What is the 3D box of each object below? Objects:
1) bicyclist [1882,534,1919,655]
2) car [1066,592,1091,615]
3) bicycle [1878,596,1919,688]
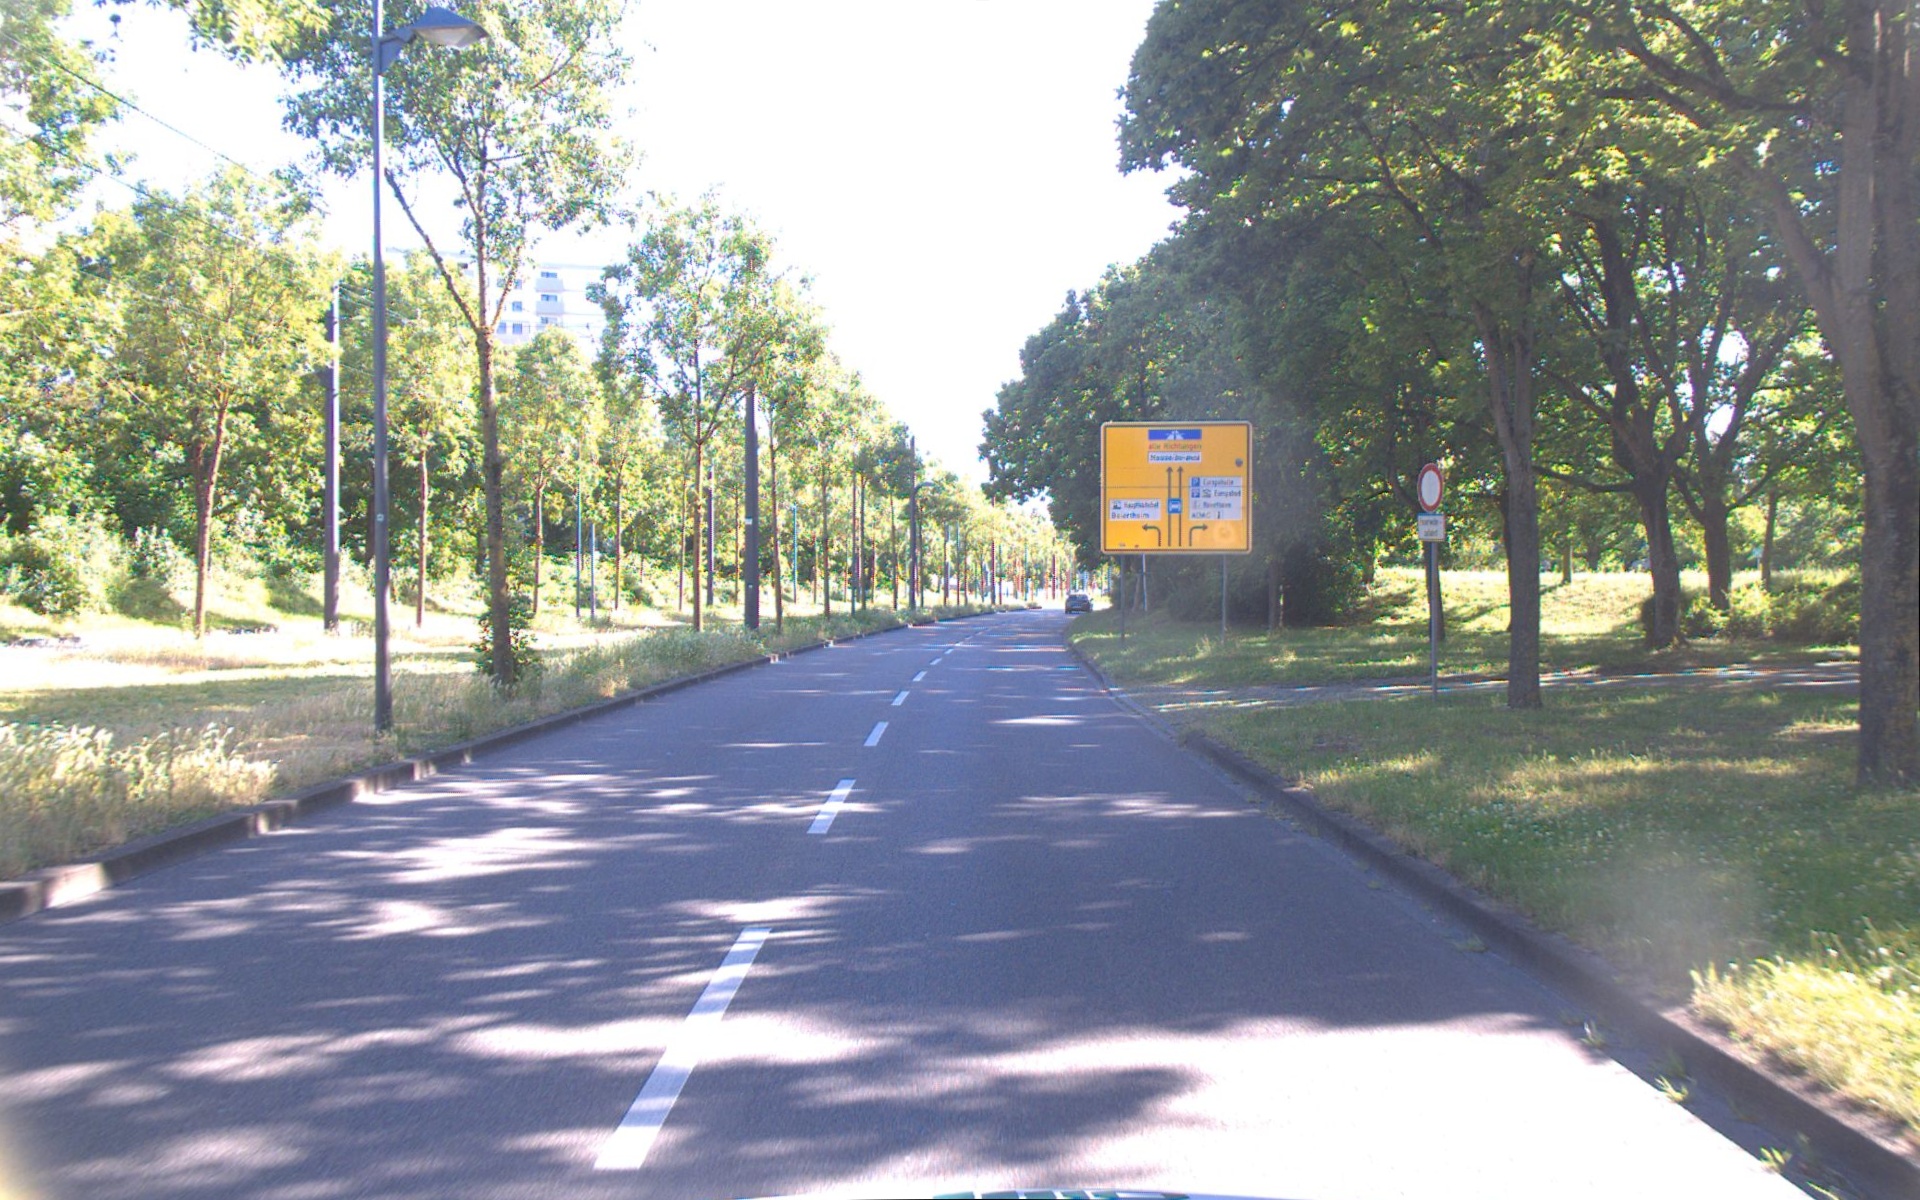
[{"bbox_3d":[11.908,-0.069,20.515,0.774,1.475,0.844,0,0,26],"label":"bicyclist"},{"bbox_3d":[8.454,0.231,117.575,1.599,1.524,4.237,1,0,6],"label":"car"},{"bbox_3d":[11.907,0.495,20.513,0.778,1.065,2.141,0,0,25],"label":"bicycle"}]
